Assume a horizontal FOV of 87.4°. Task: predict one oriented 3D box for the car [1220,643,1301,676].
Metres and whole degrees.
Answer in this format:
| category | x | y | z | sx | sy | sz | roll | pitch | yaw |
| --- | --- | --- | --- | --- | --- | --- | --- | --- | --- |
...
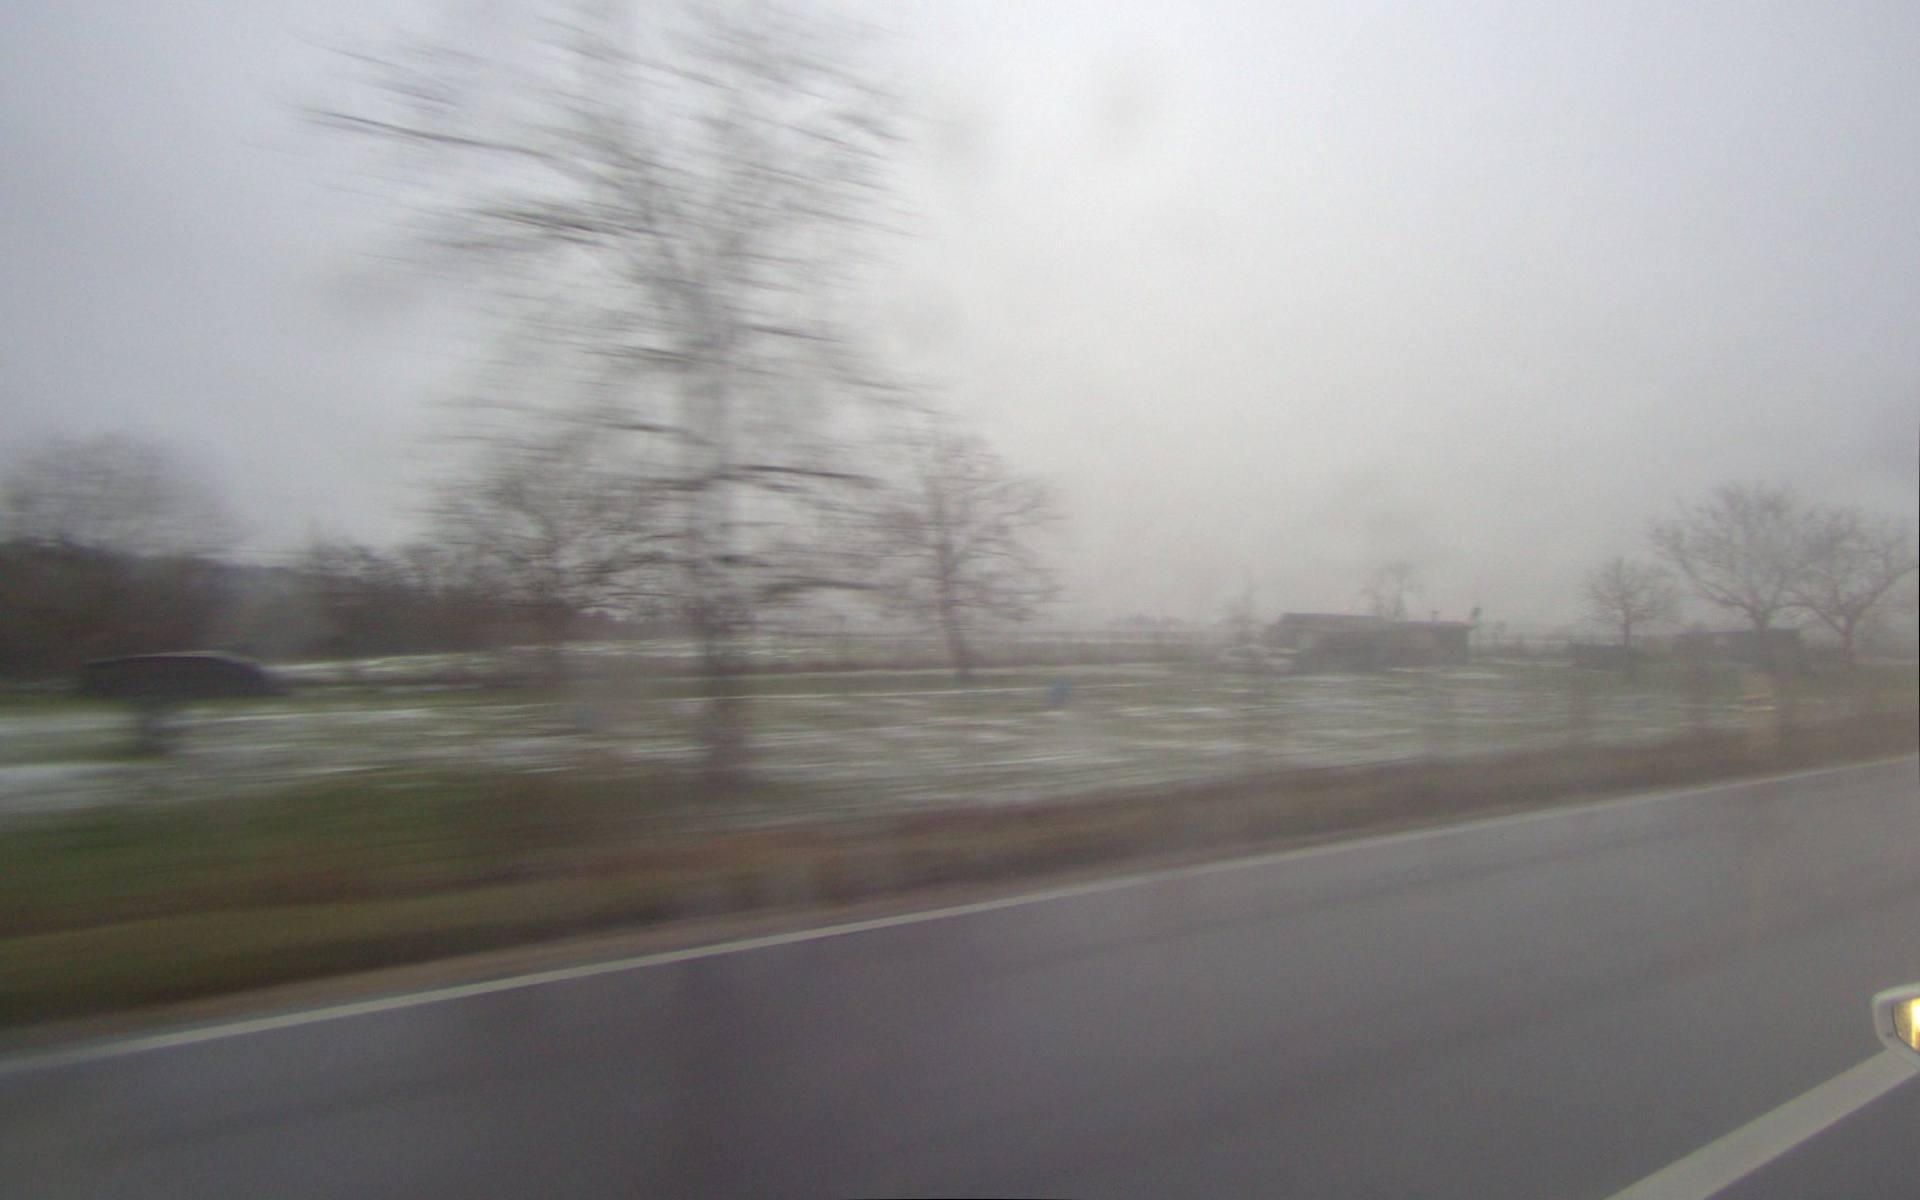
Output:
| category | x | y | z | sx | sy | sz | roll | pitch | yaw |
| --- | --- | --- | --- | --- | --- | --- | --- | --- | --- |
| car | 14.483 | 2.860 | 48.501 | 1.588 | 1.360 | 3.407 | 2 | 0 | -44 |
